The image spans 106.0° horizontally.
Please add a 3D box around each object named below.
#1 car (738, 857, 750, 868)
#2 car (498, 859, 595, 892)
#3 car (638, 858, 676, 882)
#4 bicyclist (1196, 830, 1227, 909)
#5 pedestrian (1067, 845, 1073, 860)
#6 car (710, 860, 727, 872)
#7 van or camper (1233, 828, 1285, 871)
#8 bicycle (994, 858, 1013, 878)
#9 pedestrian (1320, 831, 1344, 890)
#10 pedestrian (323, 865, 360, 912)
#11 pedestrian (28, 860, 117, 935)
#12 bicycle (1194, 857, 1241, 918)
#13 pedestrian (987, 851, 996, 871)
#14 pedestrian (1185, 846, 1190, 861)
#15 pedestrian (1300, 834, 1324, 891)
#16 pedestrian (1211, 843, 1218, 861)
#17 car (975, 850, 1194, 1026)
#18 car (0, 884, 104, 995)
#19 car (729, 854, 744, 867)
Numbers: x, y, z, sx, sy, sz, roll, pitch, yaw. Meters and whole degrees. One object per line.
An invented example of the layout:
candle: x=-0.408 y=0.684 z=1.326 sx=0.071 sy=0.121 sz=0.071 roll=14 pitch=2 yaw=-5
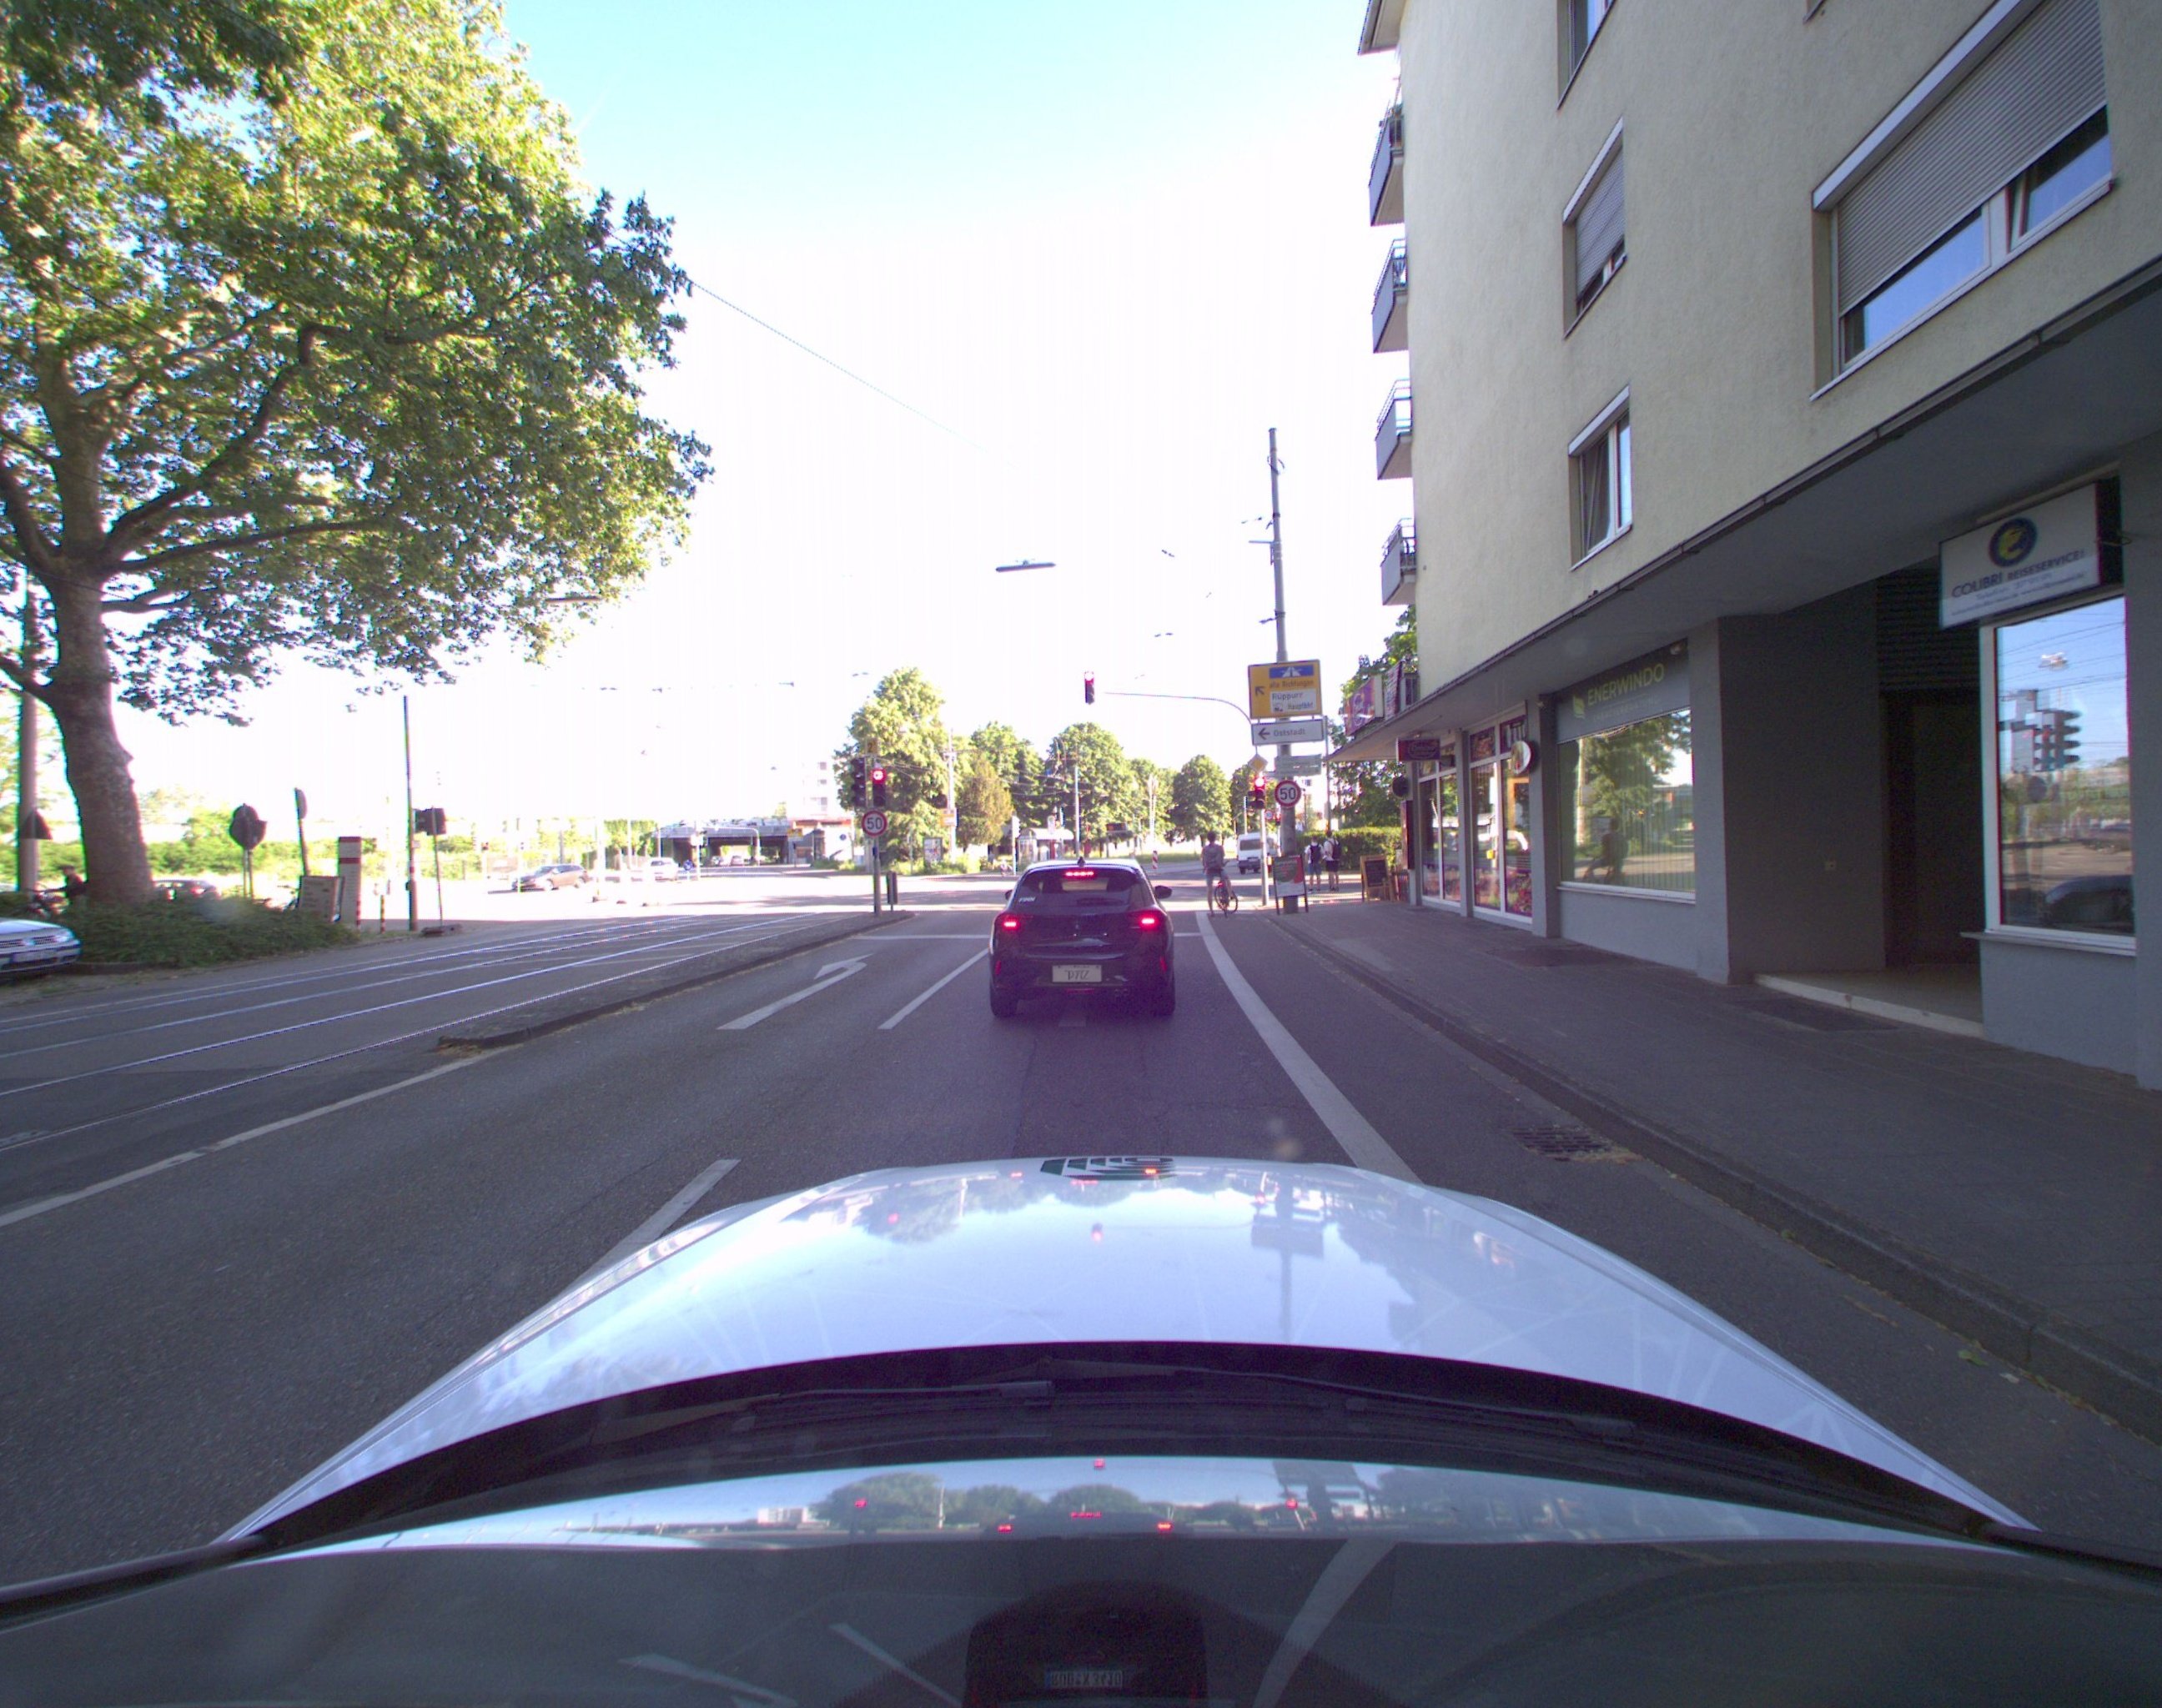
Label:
car: x=-54.767 y=1.419 z=132.347 sx=1.761 sy=1.684 sz=3.713 roll=0 pitch=-1 yaw=-22
car: x=-30.058 y=1.184 z=45.960 sx=1.784 sy=1.662 sz=4.375 roll=-2 pitch=0 yaw=16
car: x=-29.211 y=1.071 z=56.188 sx=1.892 sy=1.585 sz=3.809 roll=0 pitch=-1 yaw=-21
bicyclist: x=2.859 y=0.337 z=17.822 sx=0.529 sy=1.692 sz=0.571 roll=-2 pitch=0 yaw=19
pedestrian: x=-1.430 y=-0.196 z=109.028 sx=0.736 sy=1.872 sz=0.661 roll=0 pitch=-1 yaw=-4
car: x=-48.894 y=1.653 z=109.989 sx=1.892 sy=1.585 sz=3.809 roll=0 pitch=-1 yaw=-21
van or camper: x=10.149 y=-0.224 z=46.119 sx=2.011 sy=2.310 sz=4.565 roll=-1 pitch=-1 yaw=23
bicycle: x=-4.405 y=0.773 z=46.560 sx=0.793 sy=1.064 sz=2.186 roll=-2 pitch=0 yaw=2
pedestrian: x=7.851 y=0.198 z=25.475 sx=0.627 sy=1.820 sz=0.749 roll=-1 pitch=-1 yaw=22
pedestrian: x=-26.876 y=1.236 z=29.606 sx=0.777 sy=1.661 sz=0.946 roll=0 pitch=-1 yaw=-29
pedestrian: x=-22.812 y=0.955 z=18.438 sx=0.842 sy=1.647 sz=0.931 roll=0 pitch=-1 yaw=1
bicycle: x=3.038 y=0.715 z=18.007 sx=0.747 sy=1.235 sz=2.024 roll=-2 pitch=0 yaw=16
pedestrian: x=-6.677 y=0.542 z=60.660 sx=0.567 sy=1.472 sz=0.666 roll=-2 pitch=0 yaw=3
pedestrian: x=13.026 y=-0.083 z=99.546 sx=0.600 sy=1.872 sz=0.521 roll=-1 pitch=-1 yaw=8
pedestrian: x=7.256 y=0.275 z=25.565 sx=0.627 sy=1.763 sz=0.585 roll=-1 pitch=-1 yaw=22
pedestrian: x=13.728 y=-0.217 z=83.650 sx=0.598 sy=1.872 sz=0.522 roll=-1 pitch=-1 yaw=23
car: x=0.091 y=0.703 z=8.934 sx=1.833 sy=1.462 sz=3.985 roll=-1 pitch=0 yaw=2
car: x=-16.631 y=1.198 z=11.346 sx=3.957 sy=1.453 sz=1.670 roll=-1 pitch=0 yaw=-1
car: x=-52.508 y=0.961 z=124.304 sx=1.916 sy=1.881 sz=4.811 roll=-2 pitch=0 yaw=-21
